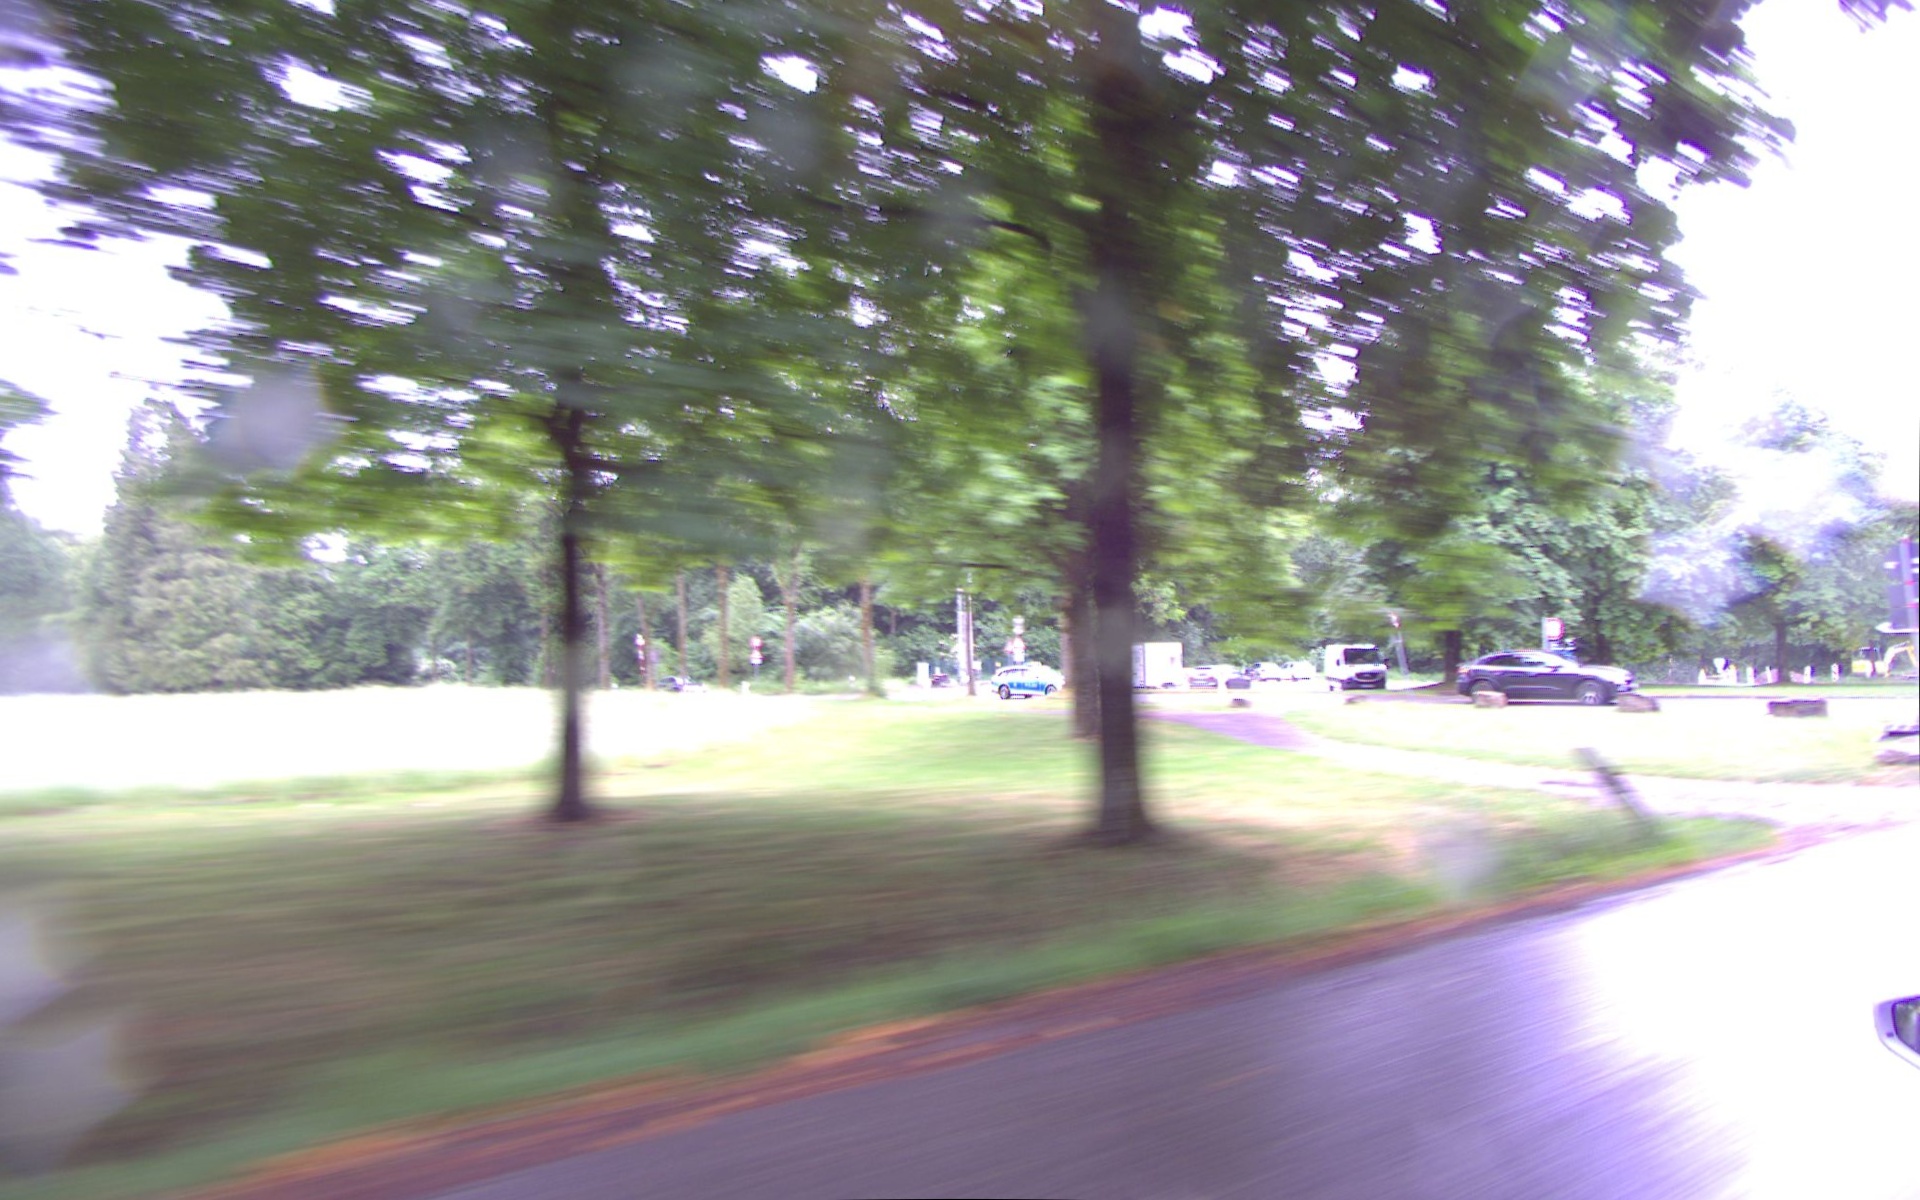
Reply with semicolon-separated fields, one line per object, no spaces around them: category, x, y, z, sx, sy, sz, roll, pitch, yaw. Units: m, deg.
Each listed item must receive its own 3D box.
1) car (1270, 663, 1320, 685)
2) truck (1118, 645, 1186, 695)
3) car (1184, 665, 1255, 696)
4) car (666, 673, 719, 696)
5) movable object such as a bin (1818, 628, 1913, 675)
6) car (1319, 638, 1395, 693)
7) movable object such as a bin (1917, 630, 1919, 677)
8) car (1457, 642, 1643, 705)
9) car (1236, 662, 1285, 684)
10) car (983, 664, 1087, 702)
car;25.877;5.690;77.754;1.964;1.605;3.994;0;-3;-11
truck;9.944;3.601;51.887;3.328;2.474;1.851;2;-4;-45
car;12.924;3.971;49.846;1.743;1.447;4.086;-4;-4;41
car;-18.449;5.799;69.133;1.720;1.502;4.124;2;-4;-44
movable object such as a bin;66.119;3.785;73.336;3.883;3.336;4.616;2;-4;-41
car;18.851;3.121;48.041;2.344;2.438;5.990;0;-4;11
movable object such as a bin;69.949;3.724;69.804;3.638;3.336;4.543;2;-4;-41
car;17.684;2.240;30.262;4.514;1.730;1.721;-6;-5;44
car;23.168;5.639;77.549;1.964;1.605;3.994;0;-3;-11
car;3.397;3.784;46.119;1.720;1.621;4.840;2;-4;-44
